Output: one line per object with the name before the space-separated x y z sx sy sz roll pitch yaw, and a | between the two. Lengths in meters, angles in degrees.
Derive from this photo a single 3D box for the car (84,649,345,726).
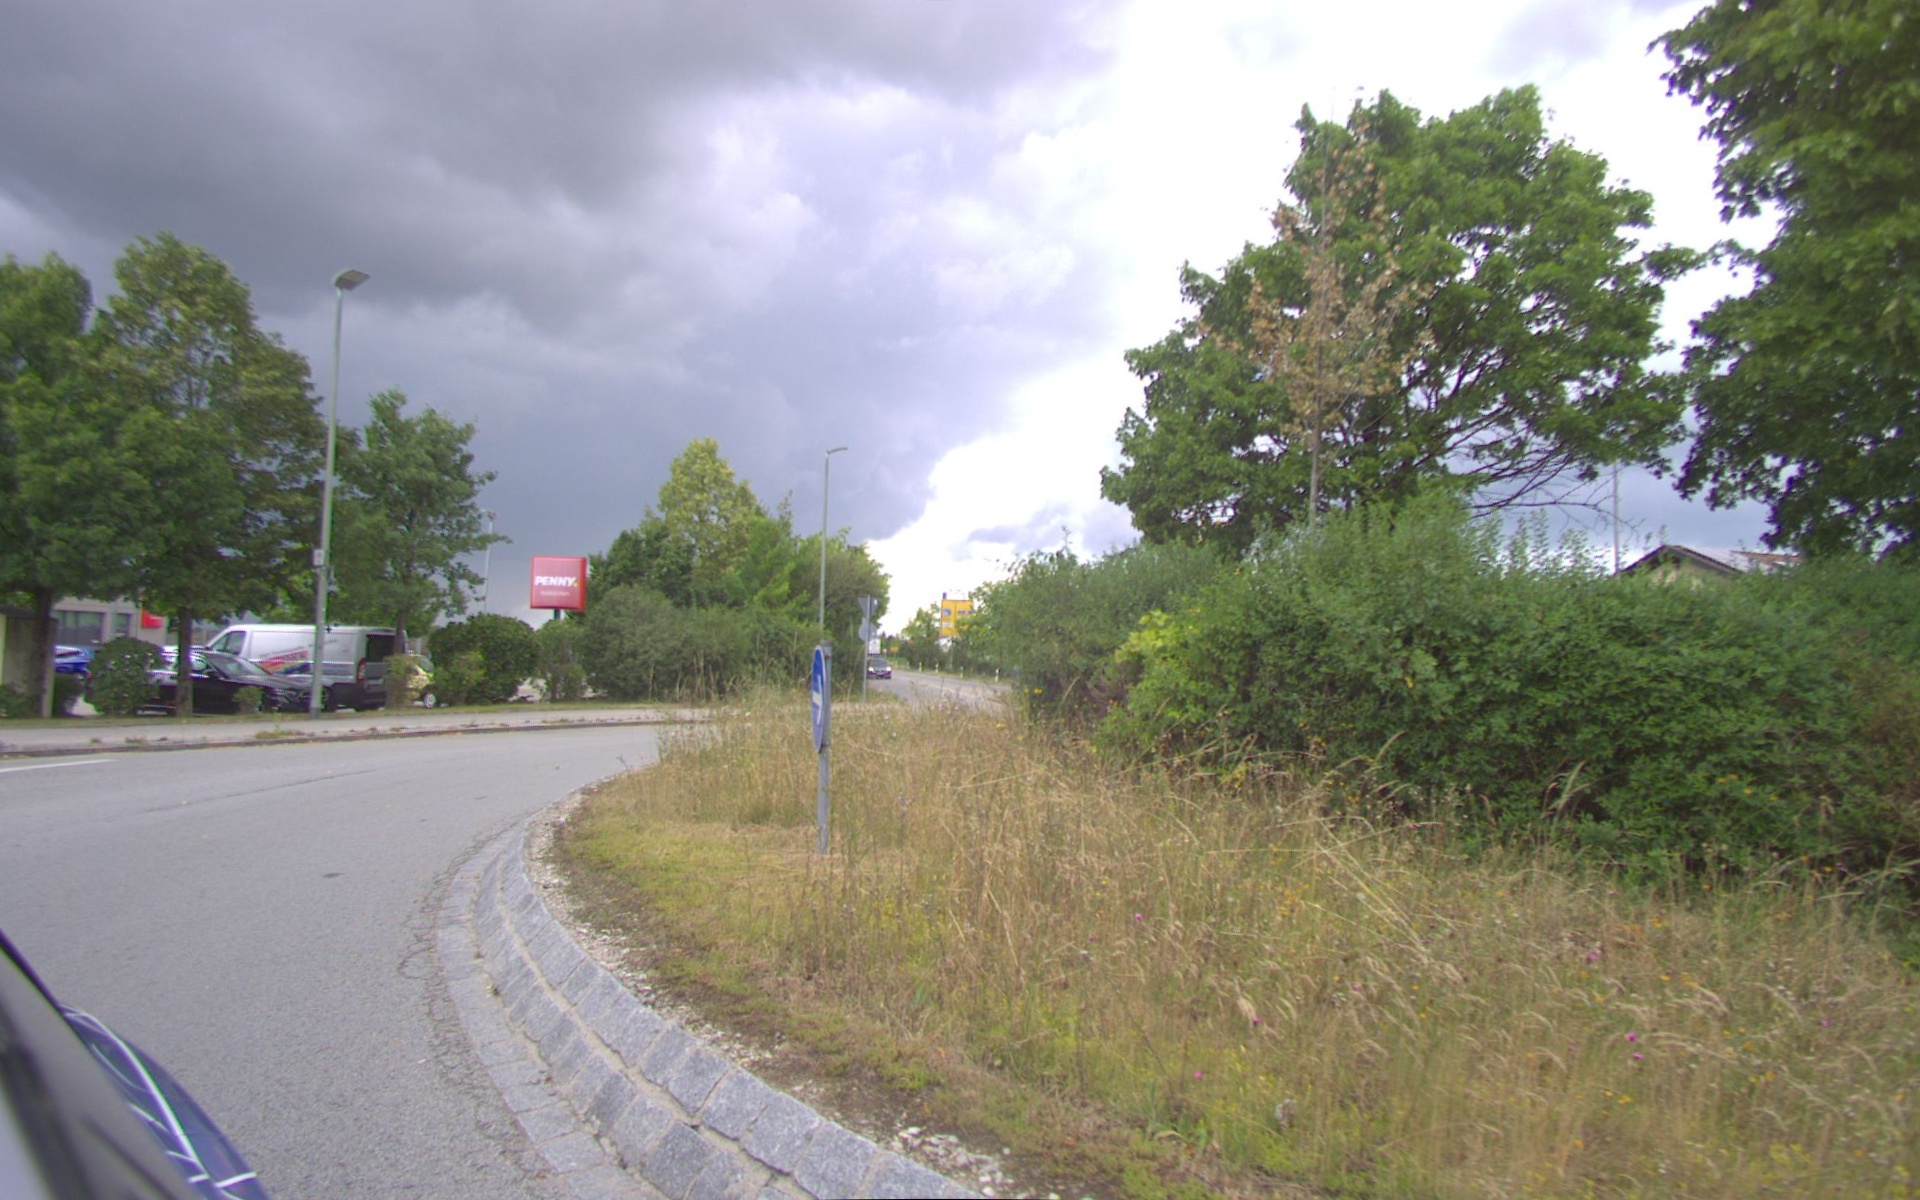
car | -16.213 1.901 22.178 4.354 1.505 1.762 1 -4 0

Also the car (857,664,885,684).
car | -6.571 5.455 74.454 1.663 1.360 3.846 2 -3 -9

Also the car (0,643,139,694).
car | -28.205 2.133 31.593 3.738 1.516 1.659 1 -3 -1

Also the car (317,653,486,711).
car | -16.114 2.364 29.357 3.883 1.568 1.762 1 -4 0

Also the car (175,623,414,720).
car | -16.211 1.739 24.871 4.354 2.175 2.156 1 -4 0
